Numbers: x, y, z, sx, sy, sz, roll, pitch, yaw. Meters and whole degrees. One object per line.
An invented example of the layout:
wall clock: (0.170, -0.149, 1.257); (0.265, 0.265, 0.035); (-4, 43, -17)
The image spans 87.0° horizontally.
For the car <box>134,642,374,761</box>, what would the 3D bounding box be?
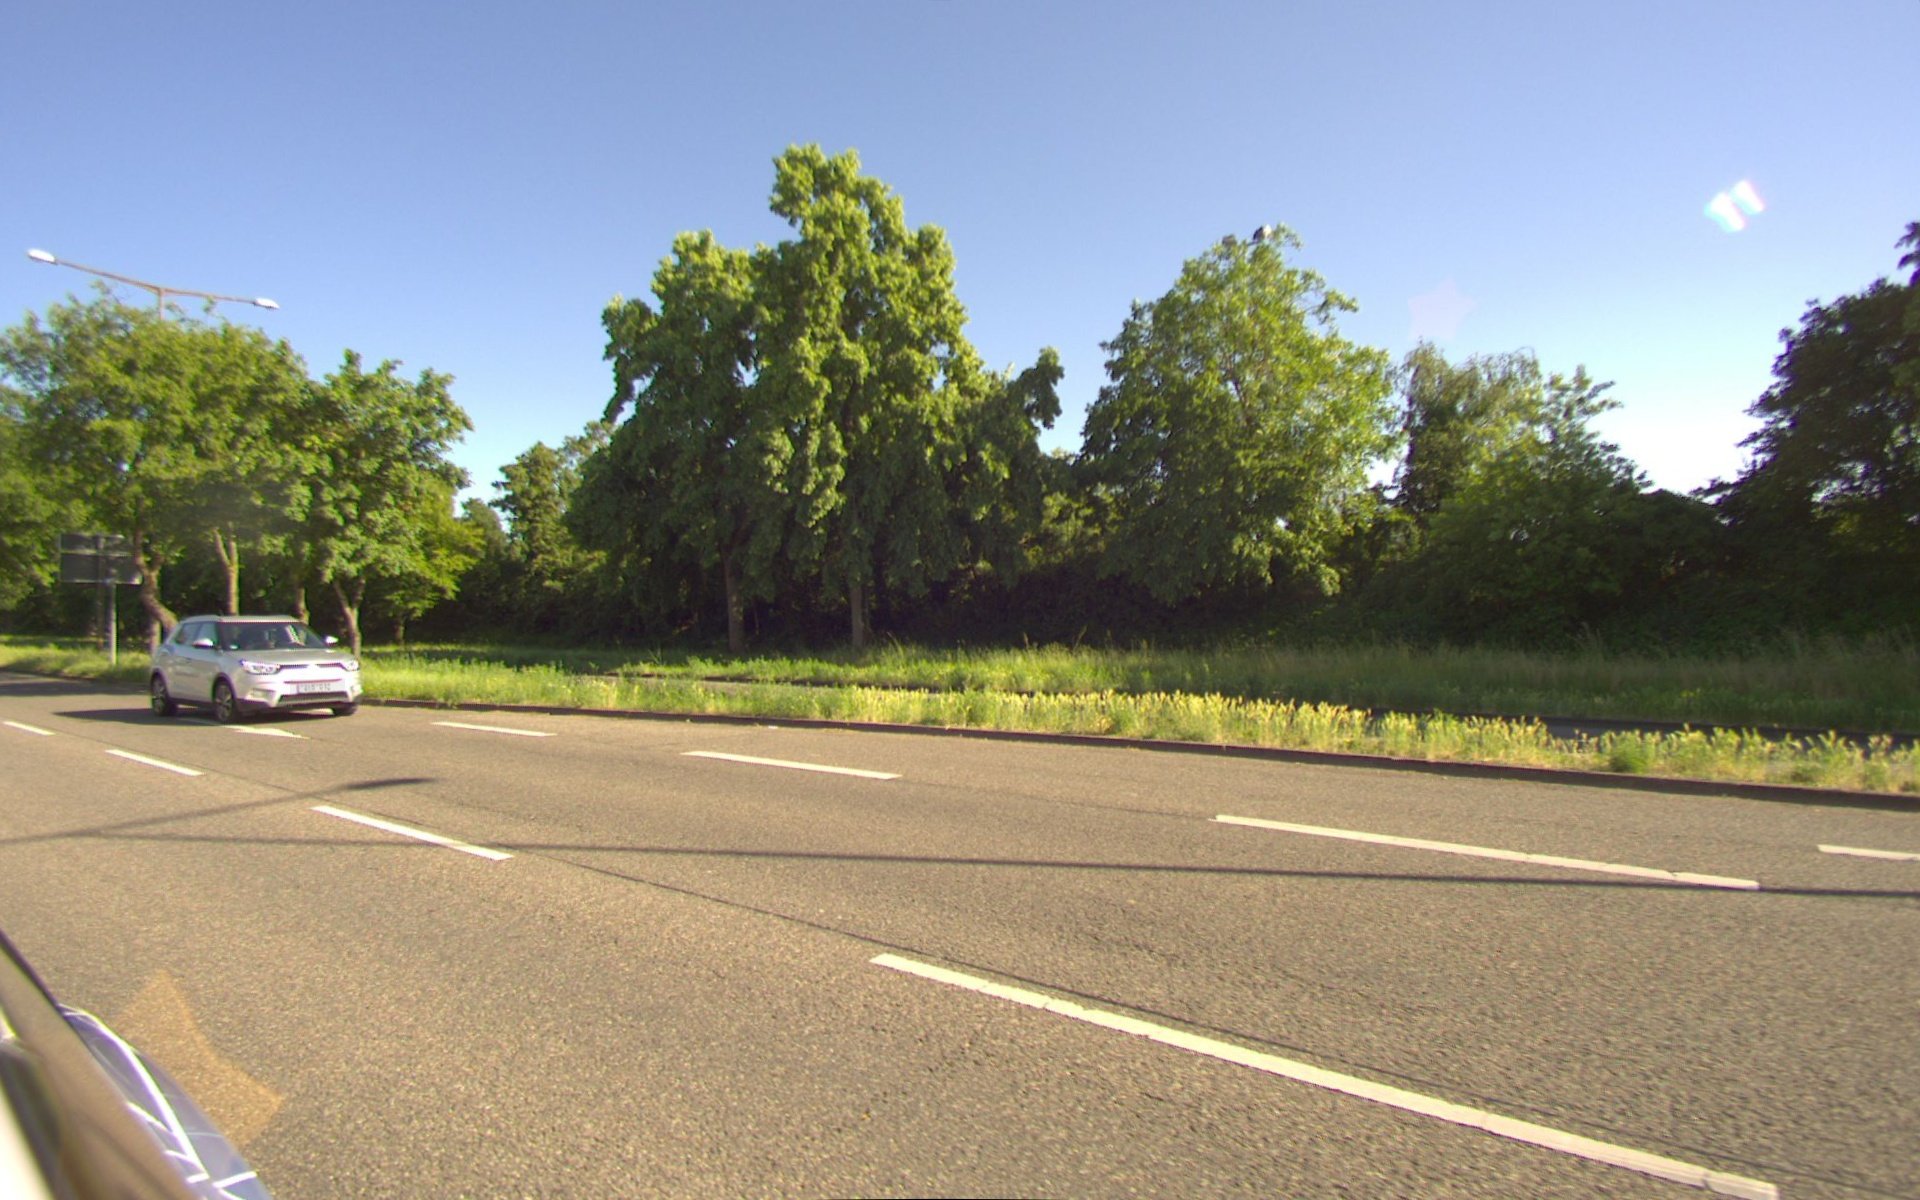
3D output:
car: (-11.121, 1.473, 15.869); (4.096, 1.622, 1.769); (-2, -2, 35)
